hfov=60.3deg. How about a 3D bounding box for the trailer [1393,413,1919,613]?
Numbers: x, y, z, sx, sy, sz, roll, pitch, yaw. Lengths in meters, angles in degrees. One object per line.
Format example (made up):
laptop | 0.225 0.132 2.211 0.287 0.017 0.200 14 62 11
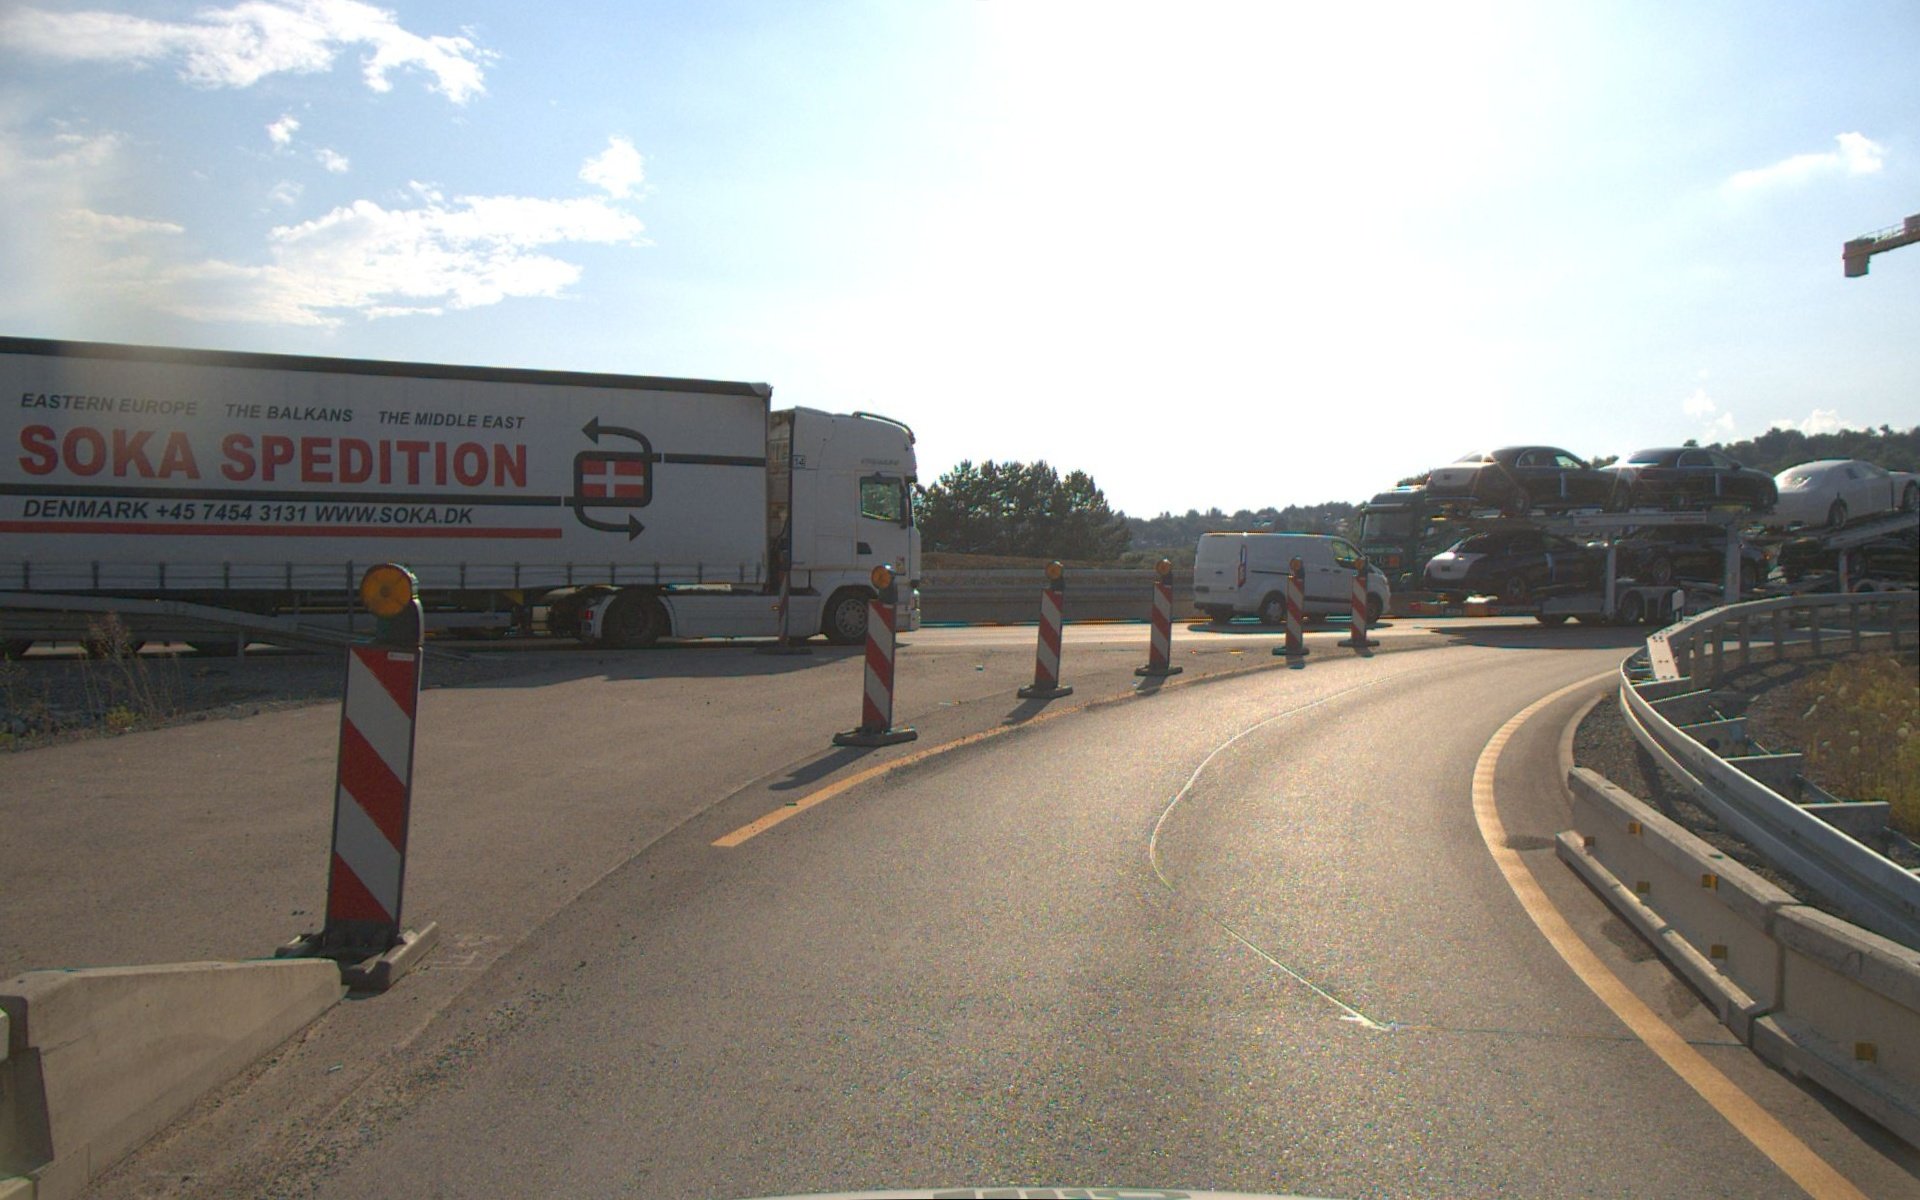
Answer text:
trailer | 16.860 -1.764 38.884 15.529 4.066 2.837 0 0 -30

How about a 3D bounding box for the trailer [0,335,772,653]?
trailer | -9.341 -1.318 23.559 13.445 3.946 2.463 0 0 -31

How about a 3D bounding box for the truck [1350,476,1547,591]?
truck | 14.525 -1.902 49.139 5.597 3.189 2.130 0 -1 -25

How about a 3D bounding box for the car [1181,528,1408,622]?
car | 7.596 -0.589 37.477 4.908 2.015 2.016 0 2 -29

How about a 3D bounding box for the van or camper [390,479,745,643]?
van or camper | -6.875 -0.647 29.241 5.822 2.665 1.980 0 1 -30

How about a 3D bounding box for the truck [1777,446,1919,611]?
truck | 24.834 -1.763 43.607 6.533 4.066 2.829 0 0 -30

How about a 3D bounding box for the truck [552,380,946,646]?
truck | -3.406 -1.298 27.114 5.929 3.946 2.463 0 0 -31

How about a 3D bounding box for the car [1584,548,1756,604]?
car | 20.668 -0.709 48.110 4.908 1.526 2.016 0 2 -29

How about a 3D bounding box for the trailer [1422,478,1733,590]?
trailer | 19.313 -1.934 51.408 10.806 3.189 2.130 0 -1 -25
